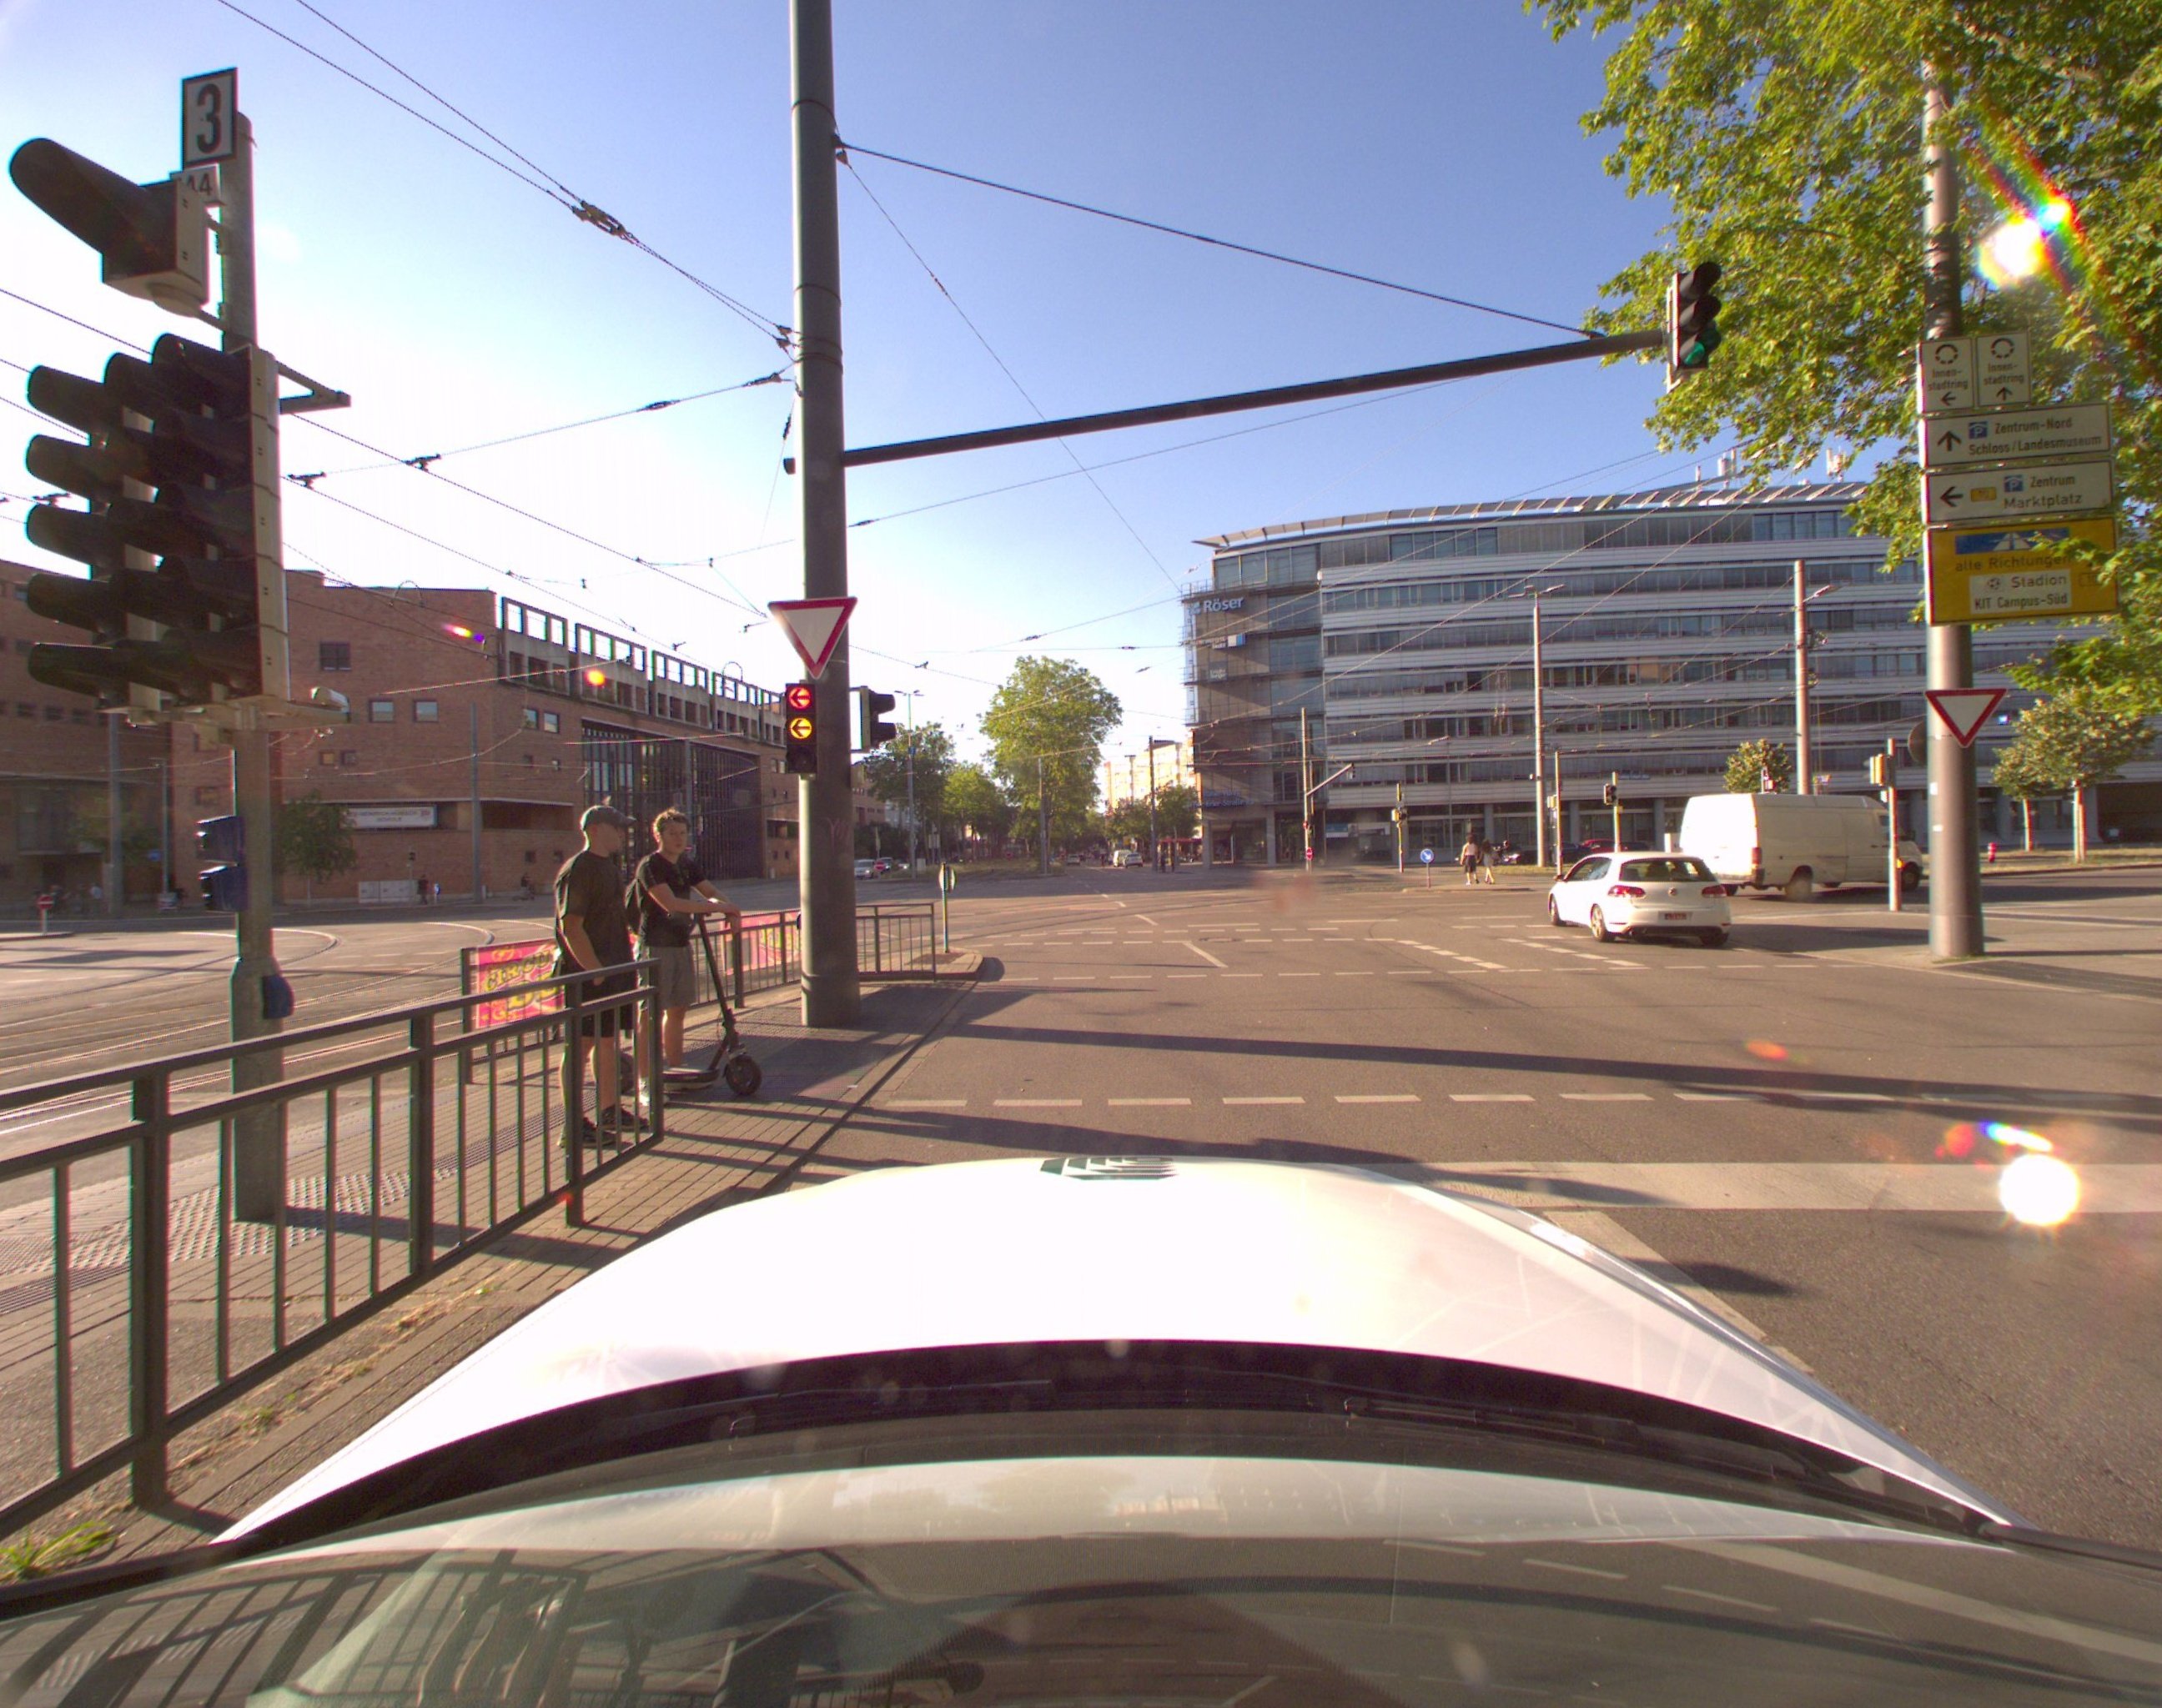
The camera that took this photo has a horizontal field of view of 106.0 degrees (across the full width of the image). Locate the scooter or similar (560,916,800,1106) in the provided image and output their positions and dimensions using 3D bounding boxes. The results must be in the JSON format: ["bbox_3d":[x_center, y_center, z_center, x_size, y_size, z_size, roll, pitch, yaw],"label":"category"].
[{"bbox_3d":[-2.564,0.989,5.289,1.196,1.081,0.649,-2,0,5],"label":"scooter or similar"}]

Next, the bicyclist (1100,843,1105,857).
[{"bbox_3d":[2.221,-0.420,82.974,0.485,1.439,0.616,0,0,1],"label":"bicyclist"}]

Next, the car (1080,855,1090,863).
[{"bbox_3d":[0.707,0.949,155.924,1.759,1.404,4.293,-1,0,-2],"label":"car"}]

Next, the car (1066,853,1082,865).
[{"bbox_3d":[-0.942,0.672,110.039,1.740,1.418,4.004,-1,1,4],"label":"car"}]

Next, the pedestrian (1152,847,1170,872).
[{"bbox_3d":[6.486,0.450,65.825,1.337,1.950,1.011,-2,-1,1],"label":"pedestrian"}]

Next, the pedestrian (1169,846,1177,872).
[{"bbox_3d":[7.099,0.393,62.722,0.584,2.014,0.620,0,-1,2],"label":"pedestrian"}]

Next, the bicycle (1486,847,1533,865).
[{"bbox_3d":[25.773,0.125,48.971,2.397,1.022,0.638,-2,0,6],"label":"bicycle"}]

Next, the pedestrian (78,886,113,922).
[{"bbox_3d":[-59.132,2.987,48.866,1.003,2.052,0.850,-2,0,-1],"label":"pedestrian"}]

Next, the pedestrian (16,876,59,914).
[{"bbox_3d":[-59.088,2.311,46.131,1.155,2.013,0.910,-2,0,-2],"label":"pedestrian"}]

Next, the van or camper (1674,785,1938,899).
[{"bbox_3d":[18.536,-0.352,20.813,6.494,2.614,1.994,-2,0,-18],"label":"van or camper"}]

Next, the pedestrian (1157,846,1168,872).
[{"bbox_3d":[6.447,0.416,64.267,0.846,2.014,0.708,0,-1,1],"label":"pedestrian"}]

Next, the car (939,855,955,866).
[{"bbox_3d":[-23.157,1.132,140.453,1.903,1.783,4.002,-2,0,2],"label":"car"}]

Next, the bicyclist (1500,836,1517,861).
[{"bbox_3d":[25.704,-0.332,48.979,0.660,1.503,0.614,-2,0,7],"label":"bicyclist"}]

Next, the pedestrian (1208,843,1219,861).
[{"bbox_3d":[16.431,-0.260,101.047,1.305,2.190,1.173,0,-1,8],"label":"pedestrian"}]

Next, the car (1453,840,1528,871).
[{"bbox_3d":[27.132,0.106,54.049,3.972,2.014,2.001,0,-1,2],"label":"car"}]

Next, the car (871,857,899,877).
[{"bbox_3d":[-18.174,1.185,75.622,1.819,1.790,3.994,-2,0,-4],"label":"car"}]

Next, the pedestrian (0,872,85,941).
[{"bbox_3d":[-31.301,1.548,24.547,1.029,2.014,1.208,0,-1,1],"label":"pedestrian"}]

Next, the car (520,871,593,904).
[{"bbox_3d":[-36.608,2.293,56.975,1.983,2.013,4.201,-2,0,7],"label":"car"}]

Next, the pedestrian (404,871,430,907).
[{"bbox_3d":[-36.062,1.898,44.233,0.721,1.902,0.875,0,-1,-1],"label":"pedestrian"}]

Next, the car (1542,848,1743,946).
[{"bbox_3d":[9.384,0.624,13.997,1.622,1.428,4.003,-1,0,16],"label":"car"}]

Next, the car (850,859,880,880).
[{"bbox_3d":[-17.974,1.283,67.899,1.618,1.577,3.994,-2,0,-4],"label":"car"}]

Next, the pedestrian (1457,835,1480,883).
[{"bbox_3d":[14.417,0.189,30.299,0.671,1.759,0.746,-2,0,27],"label":"pedestrian"}]

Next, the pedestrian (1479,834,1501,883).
[{"bbox_3d":[15.062,0.165,29.990,0.677,1.759,0.746,-2,0,26],"label":"pedestrian"}]

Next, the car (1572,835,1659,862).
[{"bbox_3d":[31.801,-0.317,48.577,3.966,1.552,1.800,0,-1,6],"label":"car"}]

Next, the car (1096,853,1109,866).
[{"bbox_3d":[3.342,0.807,126.835,1.986,2.014,4.001,0,-1,2],"label":"car"}]

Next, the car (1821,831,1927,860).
[{"bbox_3d":[45.430,-0.487,46.741,4.097,1.596,1.884,0,-1,5],"label":"car"}]

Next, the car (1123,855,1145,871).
[{"bbox_3d":[5.351,0.933,82.760,2.022,1.596,4.001,0,-1,2],"label":"car"}]

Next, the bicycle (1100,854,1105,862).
[{"bbox_3d":[2.247,0.391,83.167,0.489,0.788,1.862,-1,0,2],"label":"bicycle"}]

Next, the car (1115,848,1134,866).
[{"bbox_3d":[4.740,0.337,89.644,1.986,2.014,4.001,0,-1,2],"label":"car"}]

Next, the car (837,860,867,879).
[{"bbox_3d":[-27.136,1.817,96.585,1.867,2.013,4.477,-2,0,4],"label":"car"}]

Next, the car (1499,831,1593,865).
[{"bbox_3d":[26.396,-0.323,46.329,4.234,1.723,1.886,-2,0,4],"label":"car"}]

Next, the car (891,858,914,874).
[{"bbox_3d":[-18.205,1.220,83.240,1.673,1.607,3.994,0,-1,-4],"label":"car"}]

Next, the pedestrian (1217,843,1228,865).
[{"bbox_3d":[12.704,0.002,73.260,0.866,2.014,0.794,0,-2,1],"label":"pedestrian"}]

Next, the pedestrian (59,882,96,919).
[{"bbox_3d":[-58.227,2.697,47.250,1.003,2.052,0.850,-2,0,-1],"label":"pedestrian"}]

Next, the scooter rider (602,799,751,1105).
[{"bbox_3d":[-2.616,0.608,5.319,0.563,1.853,0.681,-2,-2,6],"label":"scooter rider"}]

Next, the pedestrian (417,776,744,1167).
[{"bbox_3d":[-2.635,0.584,4.404,1.161,1.884,0.856,-2,0,6],"label":"pedestrian"}]
